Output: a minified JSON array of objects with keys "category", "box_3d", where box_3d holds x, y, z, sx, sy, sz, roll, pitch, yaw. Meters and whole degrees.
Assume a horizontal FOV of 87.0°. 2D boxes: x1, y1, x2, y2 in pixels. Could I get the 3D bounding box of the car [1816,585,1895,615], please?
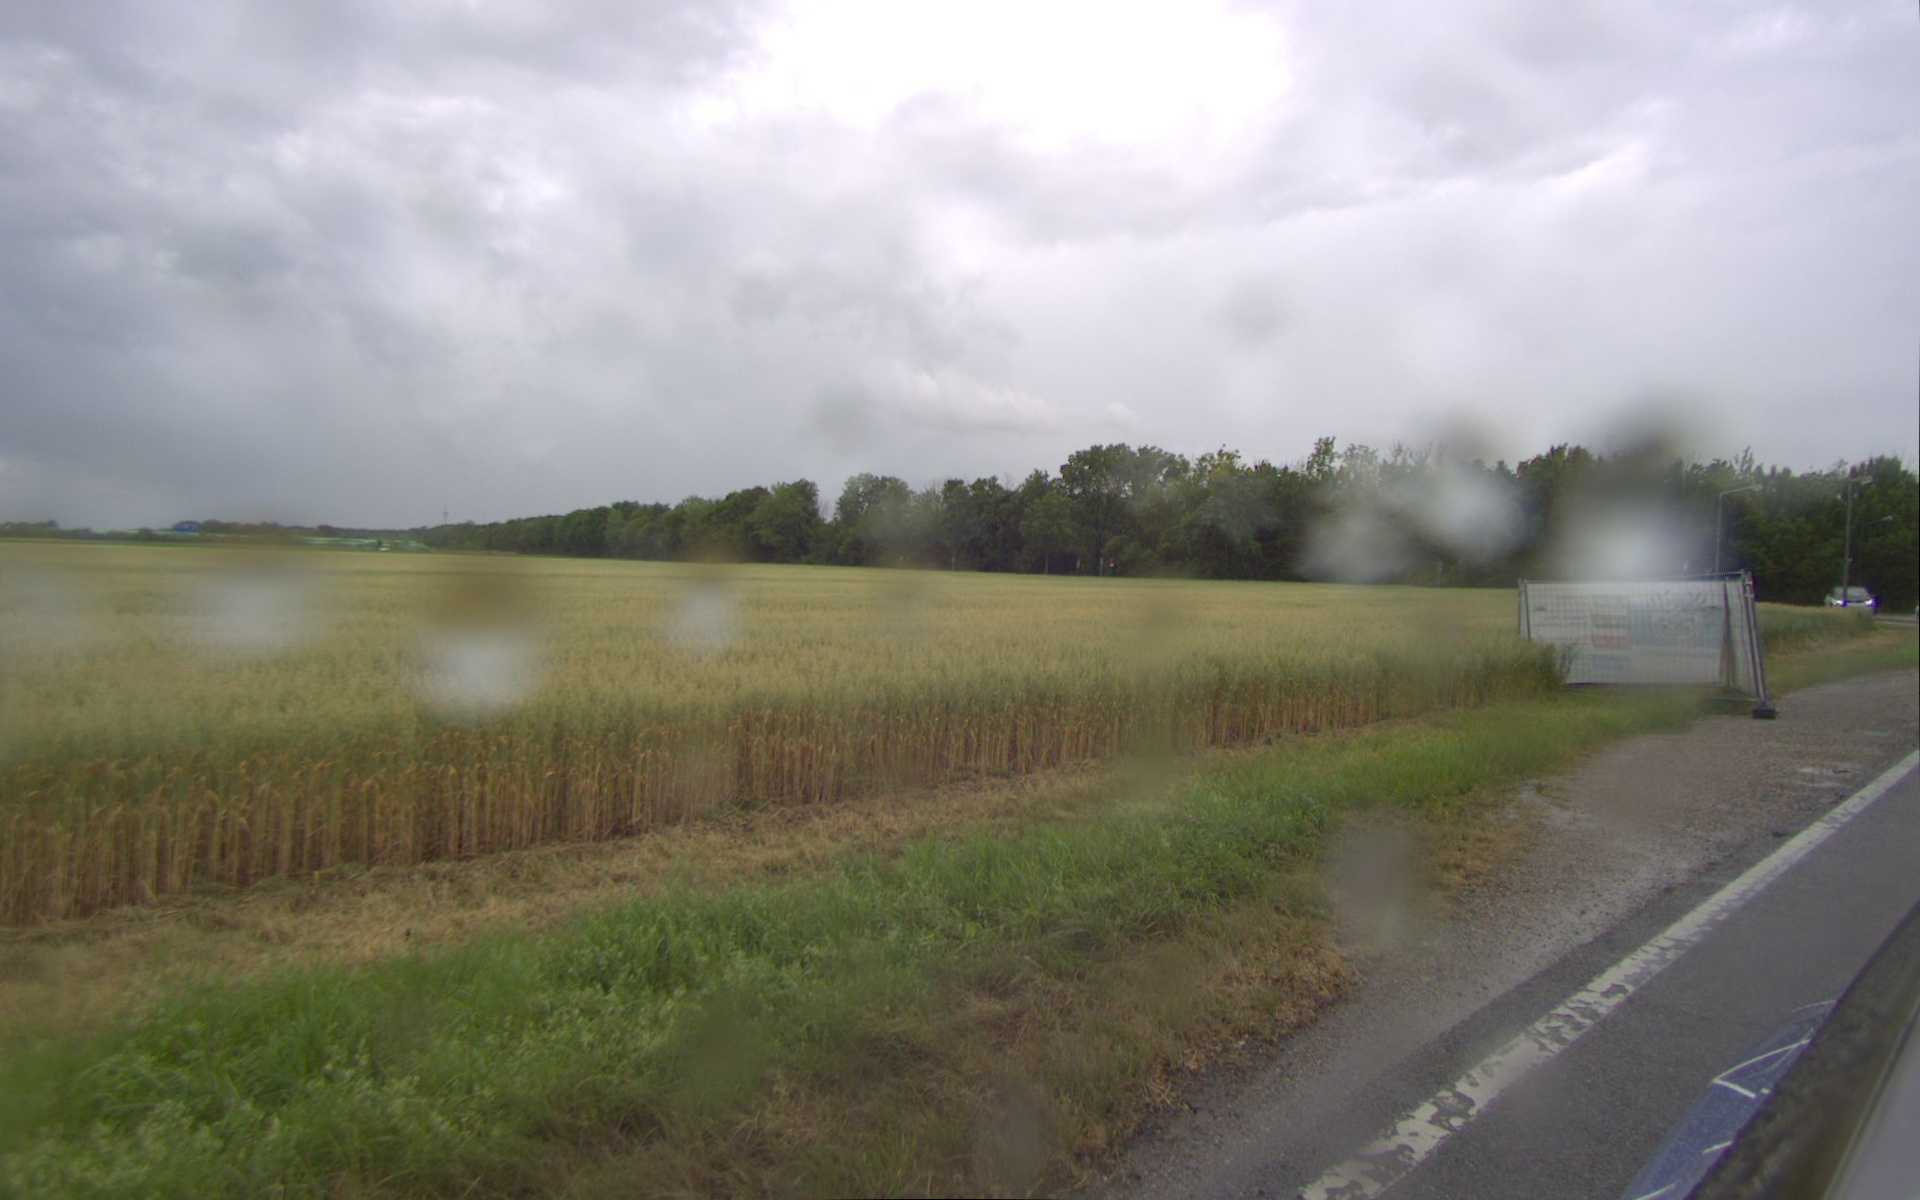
[{"category":"car","box_3d":[48.370,-0.020,54.784,1.872,1.550,4.466,1,1,23]}]
